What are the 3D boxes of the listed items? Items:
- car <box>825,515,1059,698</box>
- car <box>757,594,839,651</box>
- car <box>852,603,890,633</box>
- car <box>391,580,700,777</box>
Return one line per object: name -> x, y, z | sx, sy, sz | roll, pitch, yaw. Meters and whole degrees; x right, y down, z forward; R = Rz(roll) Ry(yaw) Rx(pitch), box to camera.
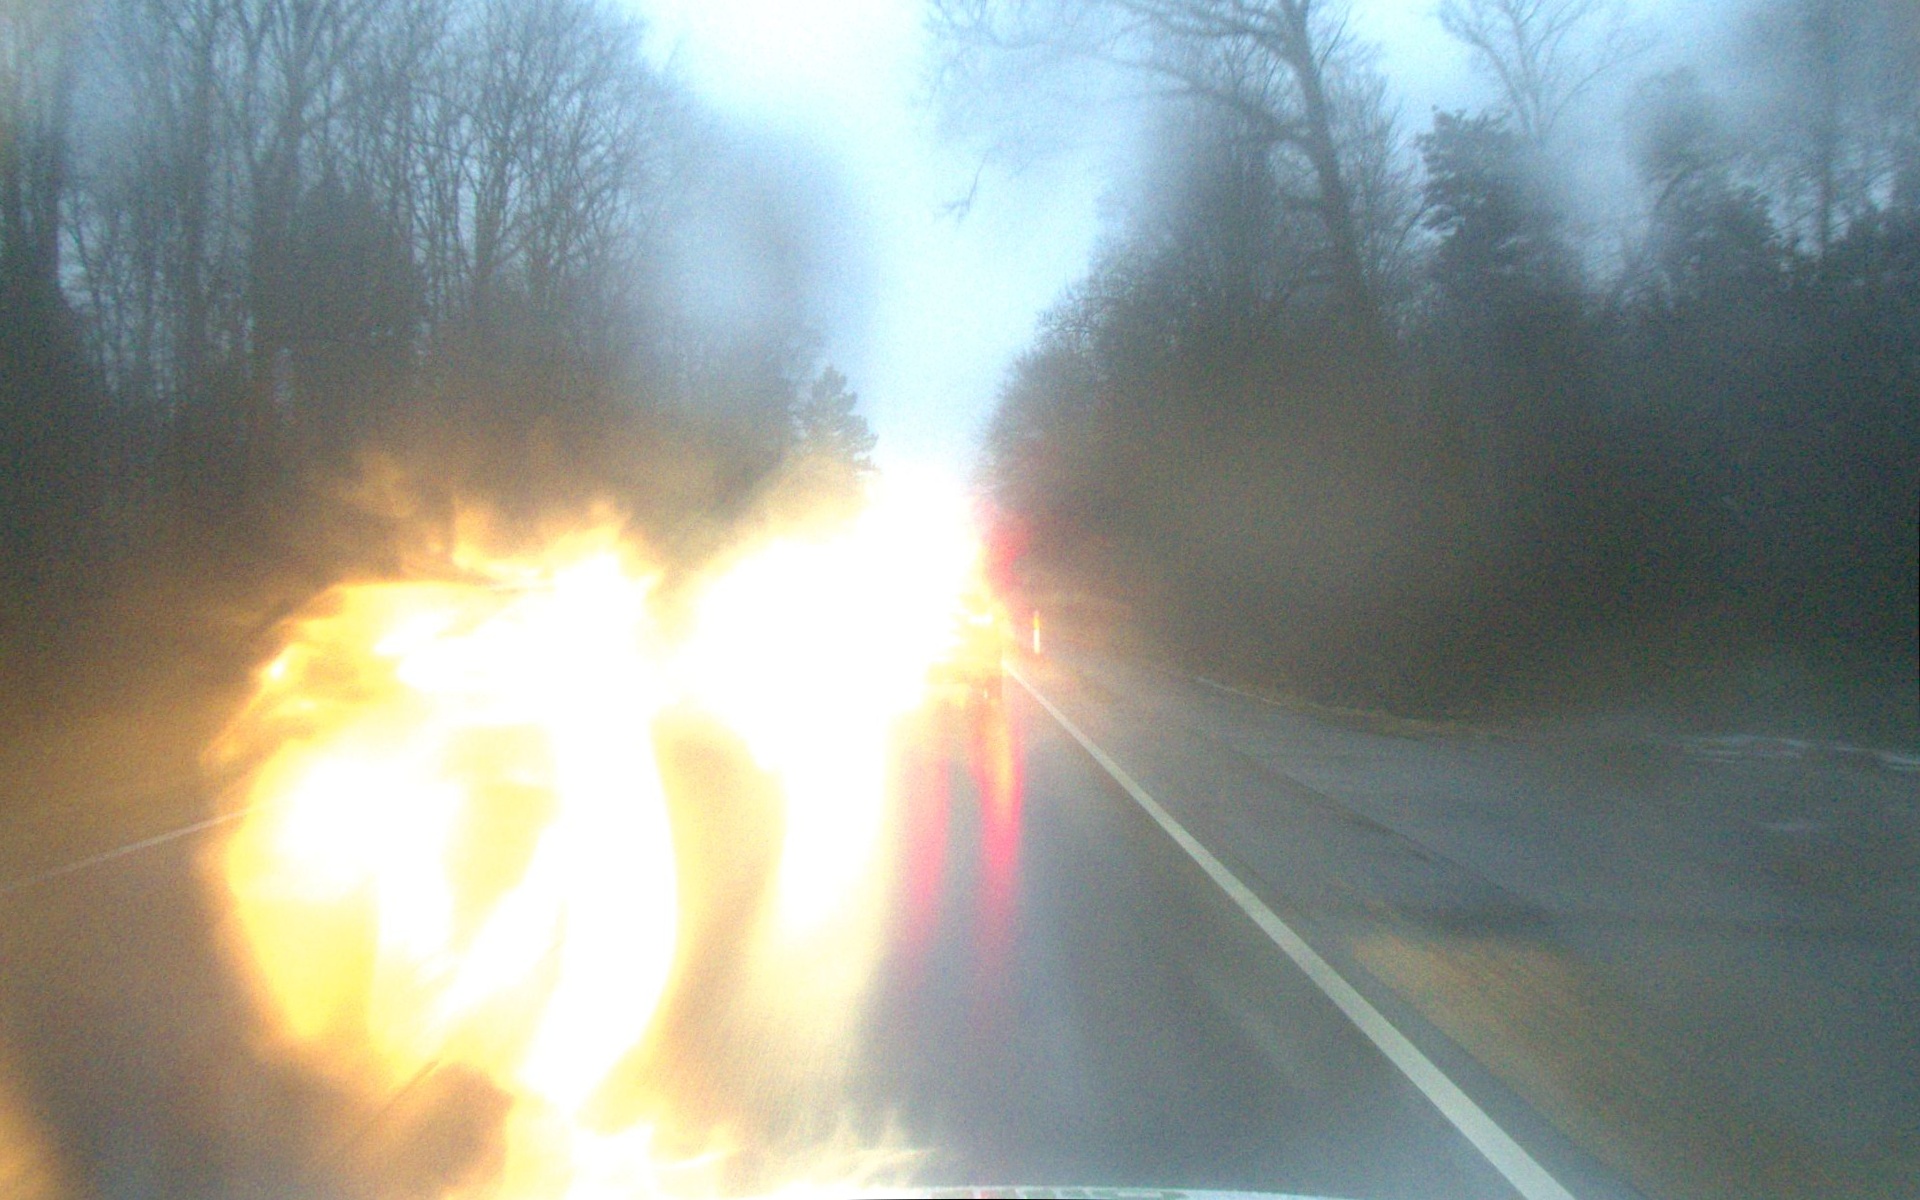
car -> -0.238, 0.089, 25.565 | 3.118, 2.428, 6.636 | 1, 0, 0
car -> -4.312, 0.555, 44.499 | 1.830, 1.447, 4.386 | 0, 0, -1
car -> -5.081, 1.018, 94.904 | 2.033, 1.644, 4.150 | -1, 0, -2
car -> -3.898, 0.653, 16.510 | 1.879, 1.636, 5.015 | -1, 0, -1
